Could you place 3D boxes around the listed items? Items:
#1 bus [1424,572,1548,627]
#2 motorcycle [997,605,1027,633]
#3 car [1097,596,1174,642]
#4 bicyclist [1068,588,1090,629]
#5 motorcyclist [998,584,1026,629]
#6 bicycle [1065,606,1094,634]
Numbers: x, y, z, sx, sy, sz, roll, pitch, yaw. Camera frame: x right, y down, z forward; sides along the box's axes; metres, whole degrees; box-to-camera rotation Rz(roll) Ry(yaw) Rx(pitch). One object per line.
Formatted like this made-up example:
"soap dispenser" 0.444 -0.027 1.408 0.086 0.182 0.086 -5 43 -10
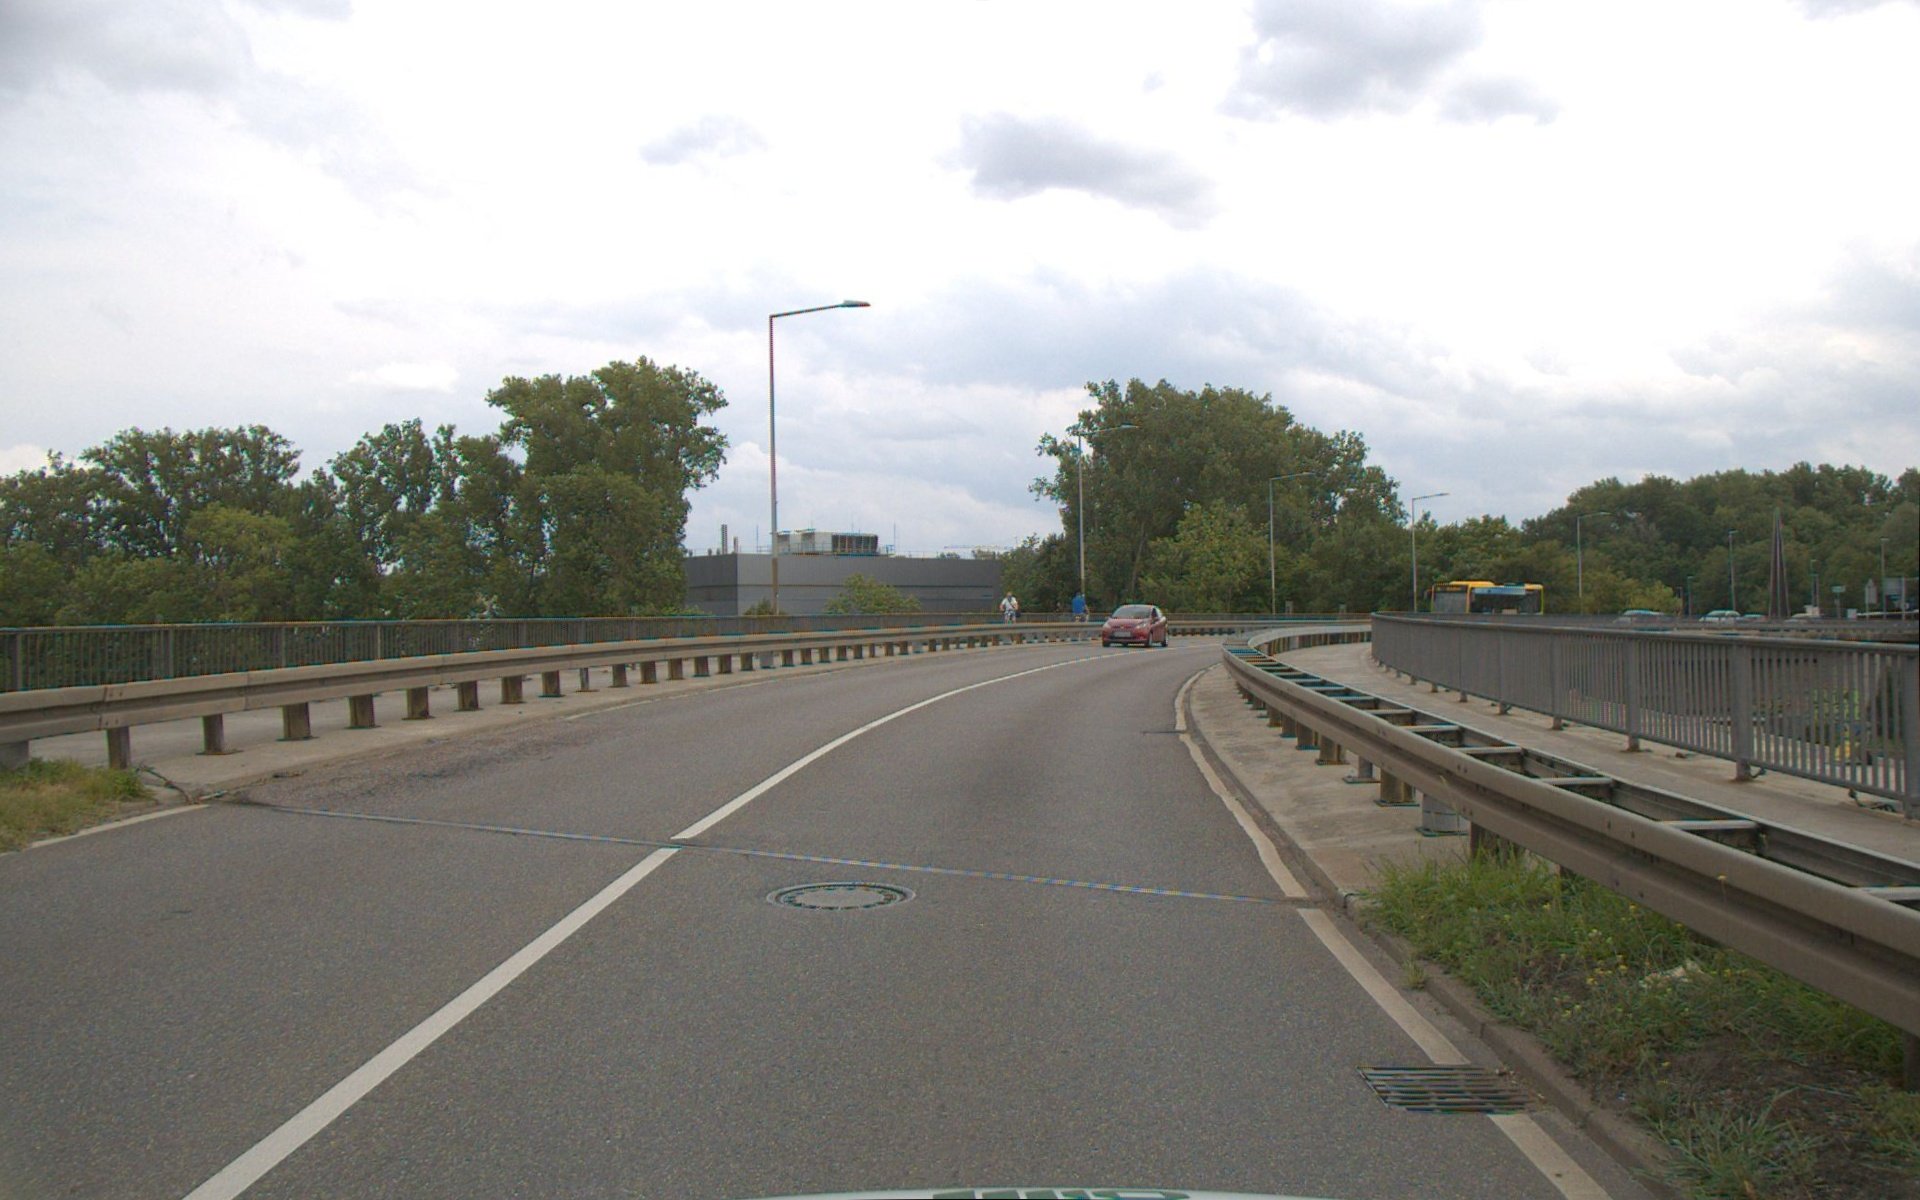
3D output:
"bus" 33.313 0.038 104.290 2.985 3.290 12.884 0 -1 39
"motorcycle" 1.819 0.669 57.955 0.612 0.980 1.841 0 -1 16
"car" 6.044 0.650 56.695 1.722 1.518 4.001 0 -1 20
"bicyclist" 4.598 0.337 63.826 0.599 1.567 0.755 0 -1 31
"motorcyclist" 1.830 0.238 58.023 0.792 1.556 0.825 0 -1 15
"bicycle" 4.637 0.769 63.835 0.483 1.063 1.808 0 -1 26
